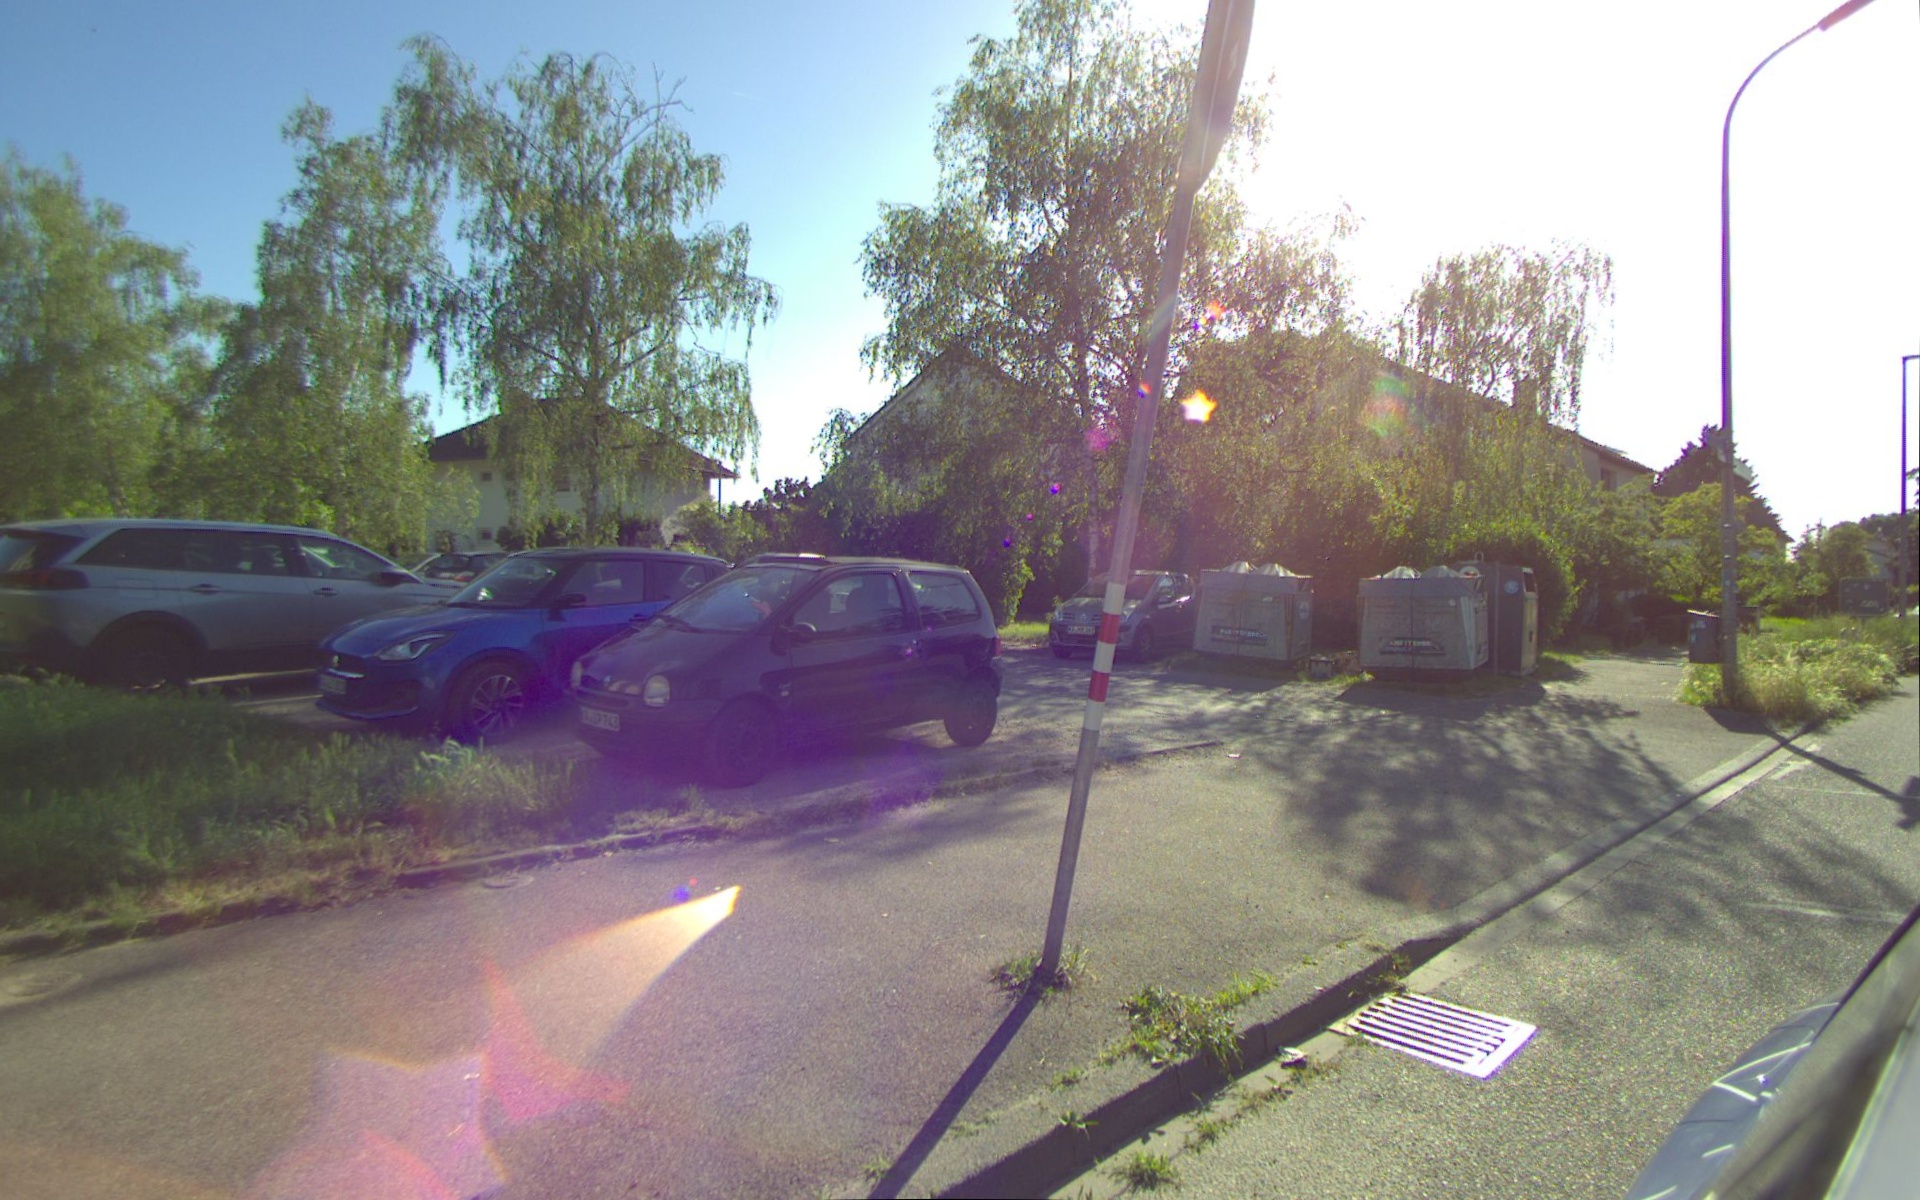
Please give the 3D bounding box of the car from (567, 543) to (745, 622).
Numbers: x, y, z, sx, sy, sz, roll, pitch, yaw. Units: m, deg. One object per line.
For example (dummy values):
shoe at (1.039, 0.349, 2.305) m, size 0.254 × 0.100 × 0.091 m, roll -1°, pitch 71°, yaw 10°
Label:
car at (-6.626, -0.379, 22.551) m, size 1.767 × 1.518 × 4.094 m, roll 3°, pitch 1°, yaw 17°

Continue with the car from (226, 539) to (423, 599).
car at (-16.260, -0.756, 26.086) m, size 1.780 × 1.418 × 3.962 m, roll 1°, pitch 0°, yaw 27°

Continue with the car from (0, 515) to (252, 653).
car at (-10.739, -0.209, 11.596) m, size 1.600 × 1.472 × 4.128 m, roll 2°, pitch 2°, yaw 21°

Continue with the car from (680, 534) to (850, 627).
car at (-4.006, -0.397, 21.540) m, size 1.767 × 1.727 × 4.094 m, roll 3°, pitch 1°, yaw 17°

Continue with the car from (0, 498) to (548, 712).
car at (-6.961, -0.051, 10.529) m, size 1.769 × 1.675 × 4.958 m, roll 2°, pitch 2°, yaw 29°

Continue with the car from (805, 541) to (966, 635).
car at (-1.366, -0.243, 20.387) m, size 1.768 × 1.623 × 4.041 m, roll 3°, pitch 1°, yaw 18°

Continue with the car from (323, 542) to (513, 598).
car at (-13.668, -0.714, 25.750) m, size 1.782 × 1.294 × 3.959 m, roll 1°, pitch 0°, yaw 29°

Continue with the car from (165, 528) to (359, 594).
car at (-18.763, -0.999, 27.394) m, size 1.780 × 1.605 × 3.962 m, roll 1°, pitch 0°, yaw 27°

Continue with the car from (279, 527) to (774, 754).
car at (-3.482, 0.200, 8.735) m, size 1.639 × 1.515 × 3.649 m, roll 3°, pitch 3°, yaw 33°

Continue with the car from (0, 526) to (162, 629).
car at (-13.548, -0.319, 13.337) m, size 1.829 × 1.352 × 4.426 m, roll 2°, pitch 2°, yaw 26°

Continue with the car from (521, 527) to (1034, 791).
car at (-1.175, 0.299, 7.577) m, size 1.697 × 1.484 × 3.481 m, roll 3°, pitch 2°, yaw 41°

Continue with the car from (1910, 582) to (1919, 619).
car at (47.561, 0.068, 47.690) m, size 3.594 × 1.738 × 1.743 m, roll 1°, pitch 1°, yaw 12°

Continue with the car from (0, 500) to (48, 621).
car at (-15.898, -0.605, 14.044) m, size 1.831 × 1.793 × 4.491 m, roll 2°, pitch 2°, yaw 29°

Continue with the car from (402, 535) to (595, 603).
car at (-11.278, -0.725, 24.984) m, size 1.931 × 1.522 × 3.959 m, roll 1°, pitch 0°, yaw 29°

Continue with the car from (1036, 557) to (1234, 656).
car at (3.054, 0.105, 17.040) m, size 1.625 × 1.457 × 4.011 m, roll 2°, pitch 0°, yaw 37°
